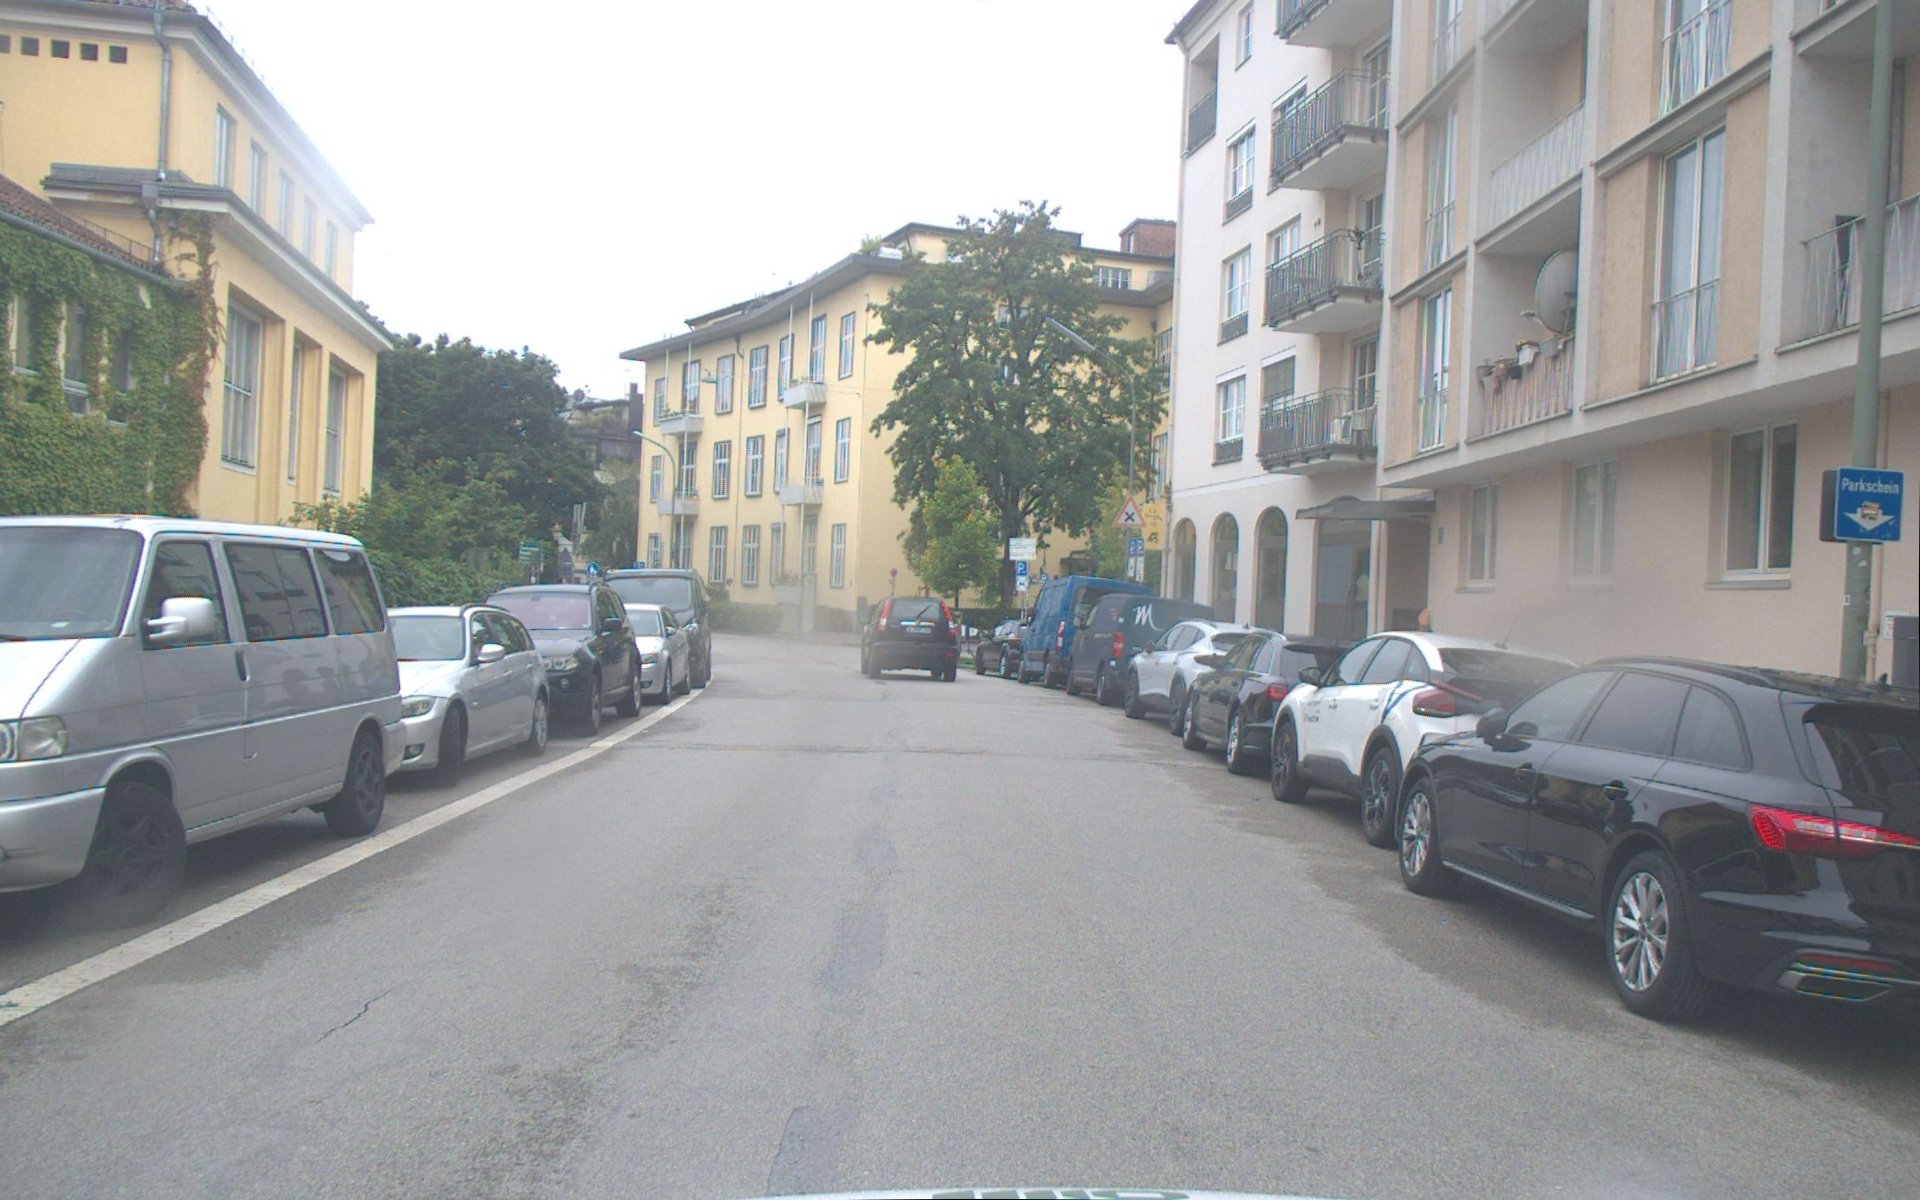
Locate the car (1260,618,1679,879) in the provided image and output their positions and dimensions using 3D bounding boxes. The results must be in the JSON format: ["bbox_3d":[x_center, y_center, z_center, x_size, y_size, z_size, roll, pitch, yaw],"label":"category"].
[{"bbox_3d":[3.728,0.998,12.946,1.705,1.525,4.217,5,0,-3],"label":"car"}]

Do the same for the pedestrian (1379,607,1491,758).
[{"bbox_3d":[5.628,0.955,19.663,0.880,1.717,1.319,1,0,-3],"label":"pedestrian"}]

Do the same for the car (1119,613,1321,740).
[{"bbox_3d":[3.560,1.005,23.409,1.706,1.564,4.267,1,0,-7],"label":"car"}]

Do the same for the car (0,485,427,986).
[{"bbox_3d":[-4.548,0.537,8.684,1.953,1.908,4.757,-1,0,0],"label":"car"}]

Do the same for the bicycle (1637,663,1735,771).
[{"bbox_3d":[7.675,1.219,17.530,0.382,1.041,1.401,1,0,-1],"label":"bicycle"}]

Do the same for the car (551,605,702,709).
[{"bbox_3d":[-4.900,0.787,24.795,1.587,1.402,4.070,0,0,-2],"label":"car"}]

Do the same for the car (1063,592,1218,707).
[{"bbox_3d":[3.072,0.797,29.189,1.925,1.848,4.932,0,0,-4],"label":"car"}]

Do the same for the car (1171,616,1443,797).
[{"bbox_3d":[3.551,1.021,17.797,1.704,1.525,4.493,4,0,-3],"label":"car"}]

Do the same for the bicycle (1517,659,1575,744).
[{"bbox_3d":[7.679,1.321,21.700,0.366,1.041,1.001,1,0,-2],"label":"bicycle"}]

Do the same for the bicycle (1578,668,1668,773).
[{"bbox_3d":[7.210,1.287,18.031,0.382,1.041,1.401,1,0,-1],"label":"bicycle"}]

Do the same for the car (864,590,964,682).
[{"bbox_3d":[-0.918,0.691,34.824,1.954,1.723,4.380,0,1,0],"label":"car"}]

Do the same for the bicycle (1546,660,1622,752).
[{"bbox_3d":[7.710,1.291,20.485,0.382,1.041,1.401,1,0,-1],"label":"bicycle"}]

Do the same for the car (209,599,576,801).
[{"bbox_3d":[-4.690,0.733,14.381,1.666,1.447,4.424,-1,0,0],"label":"car"}]

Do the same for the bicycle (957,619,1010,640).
[{"bbox_3d":[1.026,1.269,71.355,2.163,0.792,0.611,2,0,12],"label":"bicycle"}]

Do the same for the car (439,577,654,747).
[{"bbox_3d":[-4.743,0.644,19.553,1.587,1.760,4.422,0,0,-2],"label":"car"}]

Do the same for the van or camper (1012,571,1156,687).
[{"bbox_3d":[2.521,0.562,35.153,2.021,2.270,5.430,0,0,-7],"label":"van or camper"}]

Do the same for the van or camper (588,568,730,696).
[{"bbox_3d":[-5.306,0.523,29.691,1.922,2.101,4.750,0,0,-3],"label":"van or camper"}]

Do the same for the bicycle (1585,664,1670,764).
[{"bbox_3d":[7.662,1.291,19.033,0.382,1.041,1.401,1,0,-1],"label":"bicycle"}]

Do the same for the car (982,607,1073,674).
[{"bbox_3d":[1.628,0.959,40.986,1.671,1.544,3.953,0,0,-7],"label":"car"}]

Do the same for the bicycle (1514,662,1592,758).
[{"bbox_3d":[7.006,1.277,19.577,0.382,1.041,1.401,1,0,-1],"label":"bicycle"}]

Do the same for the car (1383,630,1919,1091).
[{"bbox_3d":[3.637,0.998,7.959,1.761,1.445,4.480,5,0,-3],"label":"car"}]
